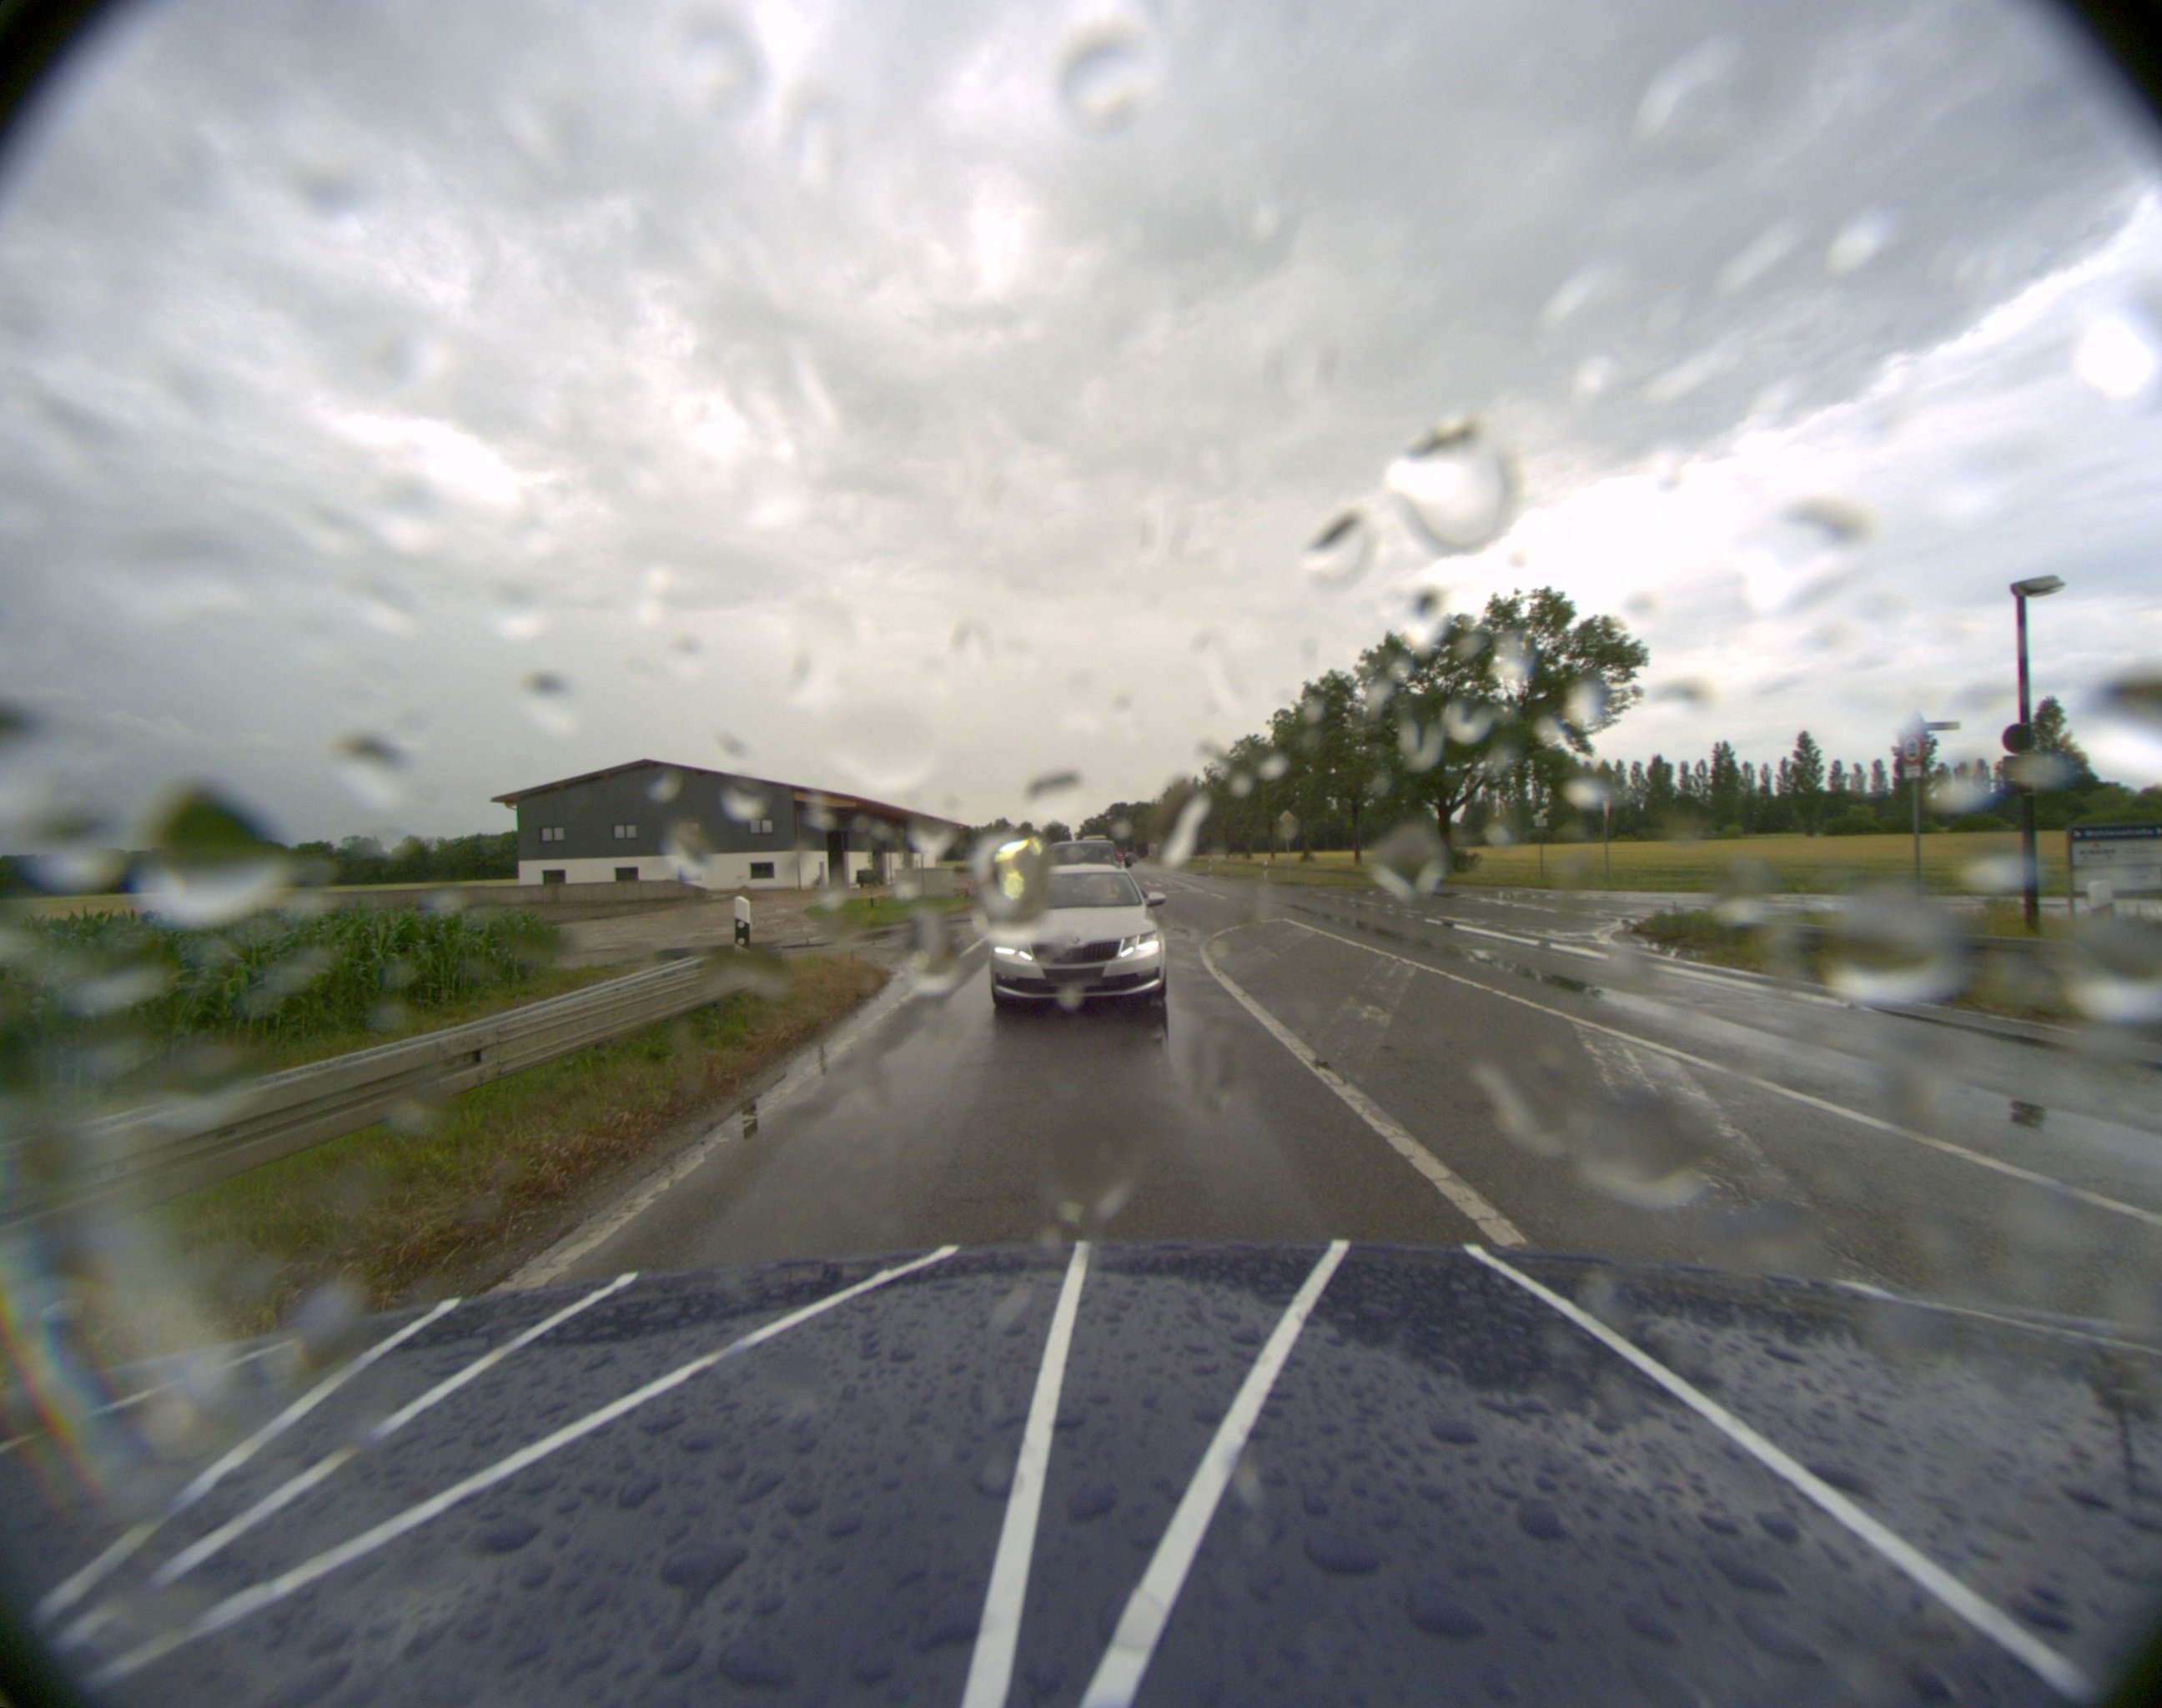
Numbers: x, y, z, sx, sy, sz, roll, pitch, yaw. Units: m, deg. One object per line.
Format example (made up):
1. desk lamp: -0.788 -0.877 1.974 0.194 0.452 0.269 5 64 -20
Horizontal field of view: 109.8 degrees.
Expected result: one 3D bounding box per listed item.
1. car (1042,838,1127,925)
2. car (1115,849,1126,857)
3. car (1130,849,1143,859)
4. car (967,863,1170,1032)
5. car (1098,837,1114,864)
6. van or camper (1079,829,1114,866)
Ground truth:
1. car: 0.146 0.600 19.289 1.841 1.888 4.575 -2 1 2
2. car: 7.604 -0.203 147.878 1.949 1.571 4.443 -2 0 1
3. car: 8.232 -0.006 113.287 1.773 1.514 4.141 0 0 1
4. car: -0.050 0.862 9.074 1.770 1.365 4.575 -2 0 2
5. car: 3.074 -0.426 92.693 1.771 3.134 4.028 -2 0 1
6. van or camper: 1.690 -0.661 80.731 3.342 3.624 8.373 -2 1 2
